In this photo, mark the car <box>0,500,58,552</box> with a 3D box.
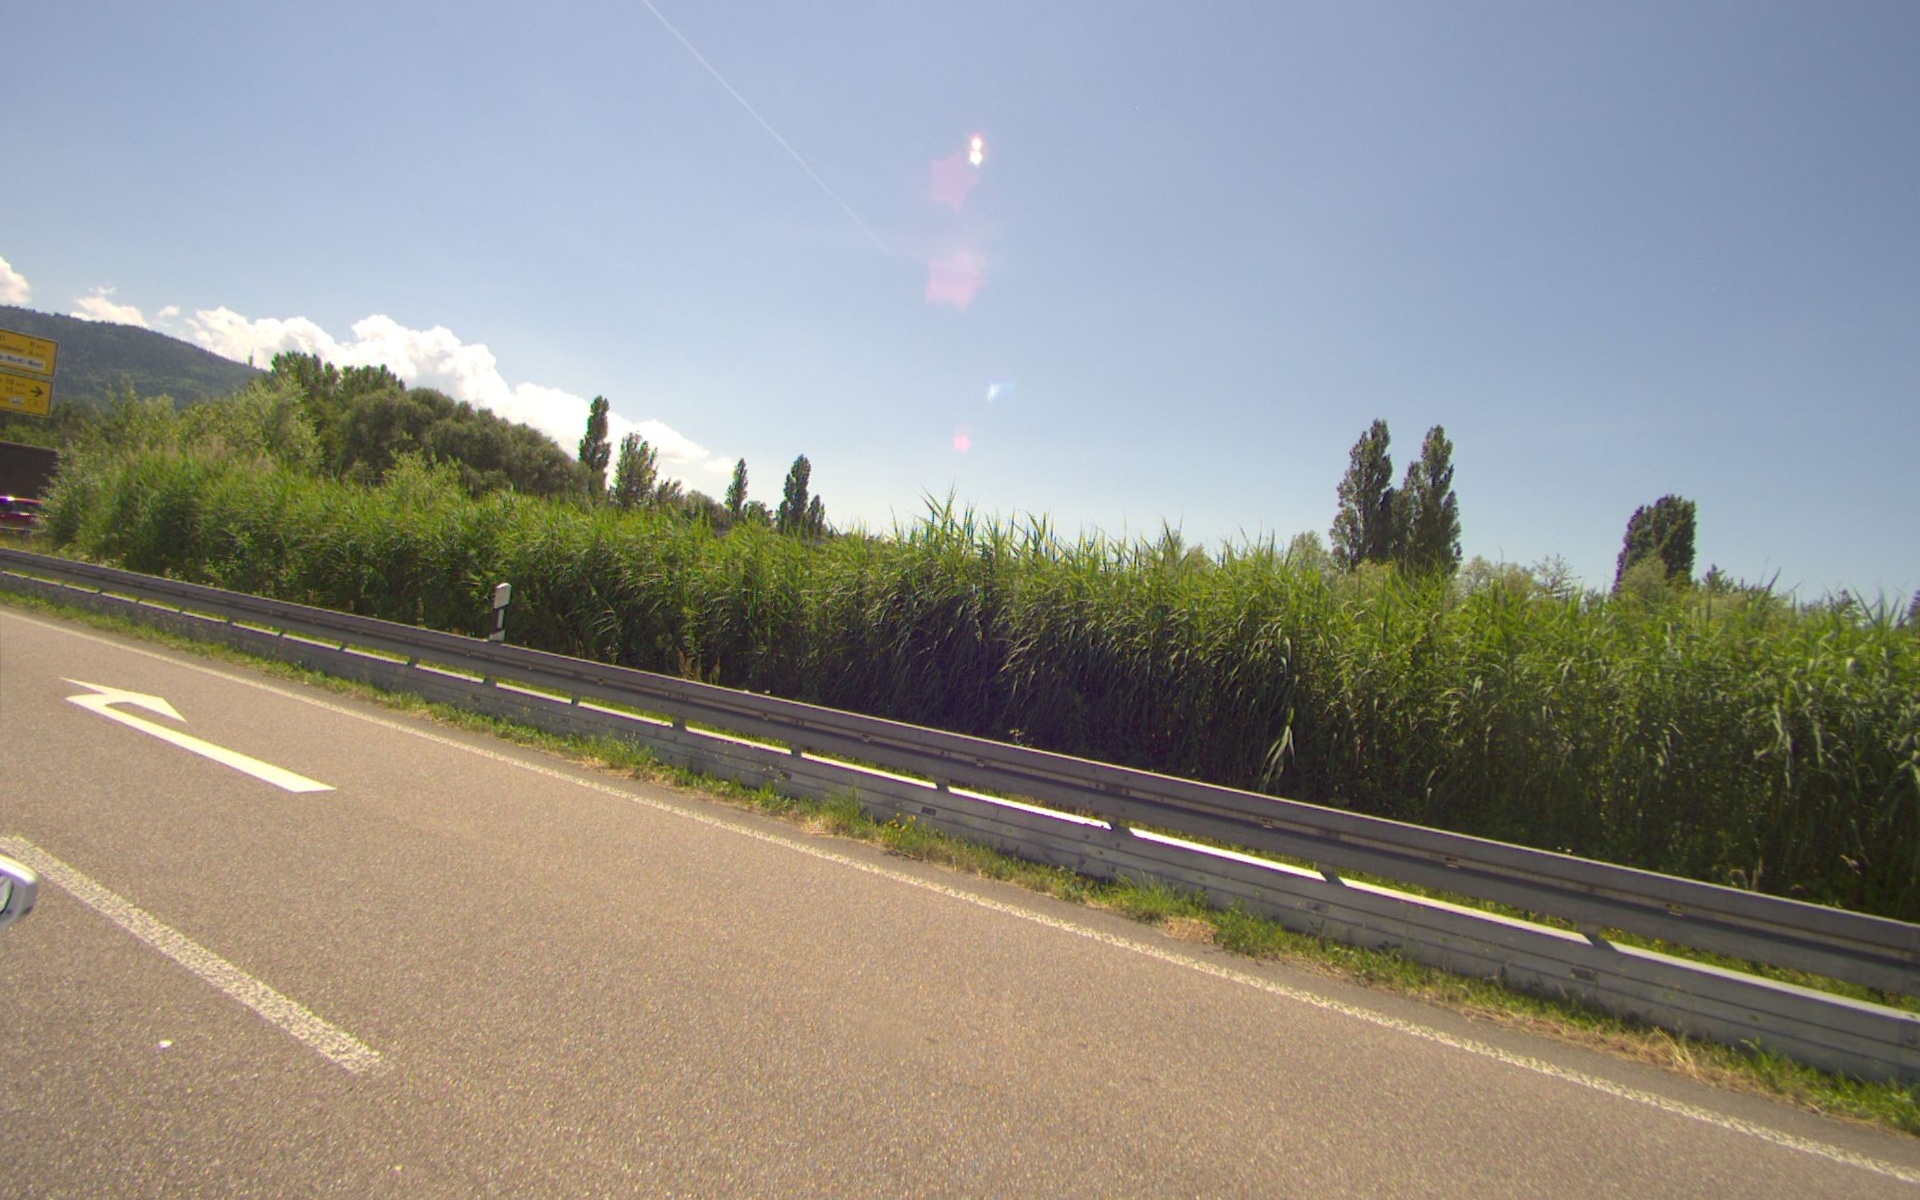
[{"bbox_3d":[-36.328,-2.950,36.895,1.966,1.676,4.320,7,-2,28],"label":"car"}]
